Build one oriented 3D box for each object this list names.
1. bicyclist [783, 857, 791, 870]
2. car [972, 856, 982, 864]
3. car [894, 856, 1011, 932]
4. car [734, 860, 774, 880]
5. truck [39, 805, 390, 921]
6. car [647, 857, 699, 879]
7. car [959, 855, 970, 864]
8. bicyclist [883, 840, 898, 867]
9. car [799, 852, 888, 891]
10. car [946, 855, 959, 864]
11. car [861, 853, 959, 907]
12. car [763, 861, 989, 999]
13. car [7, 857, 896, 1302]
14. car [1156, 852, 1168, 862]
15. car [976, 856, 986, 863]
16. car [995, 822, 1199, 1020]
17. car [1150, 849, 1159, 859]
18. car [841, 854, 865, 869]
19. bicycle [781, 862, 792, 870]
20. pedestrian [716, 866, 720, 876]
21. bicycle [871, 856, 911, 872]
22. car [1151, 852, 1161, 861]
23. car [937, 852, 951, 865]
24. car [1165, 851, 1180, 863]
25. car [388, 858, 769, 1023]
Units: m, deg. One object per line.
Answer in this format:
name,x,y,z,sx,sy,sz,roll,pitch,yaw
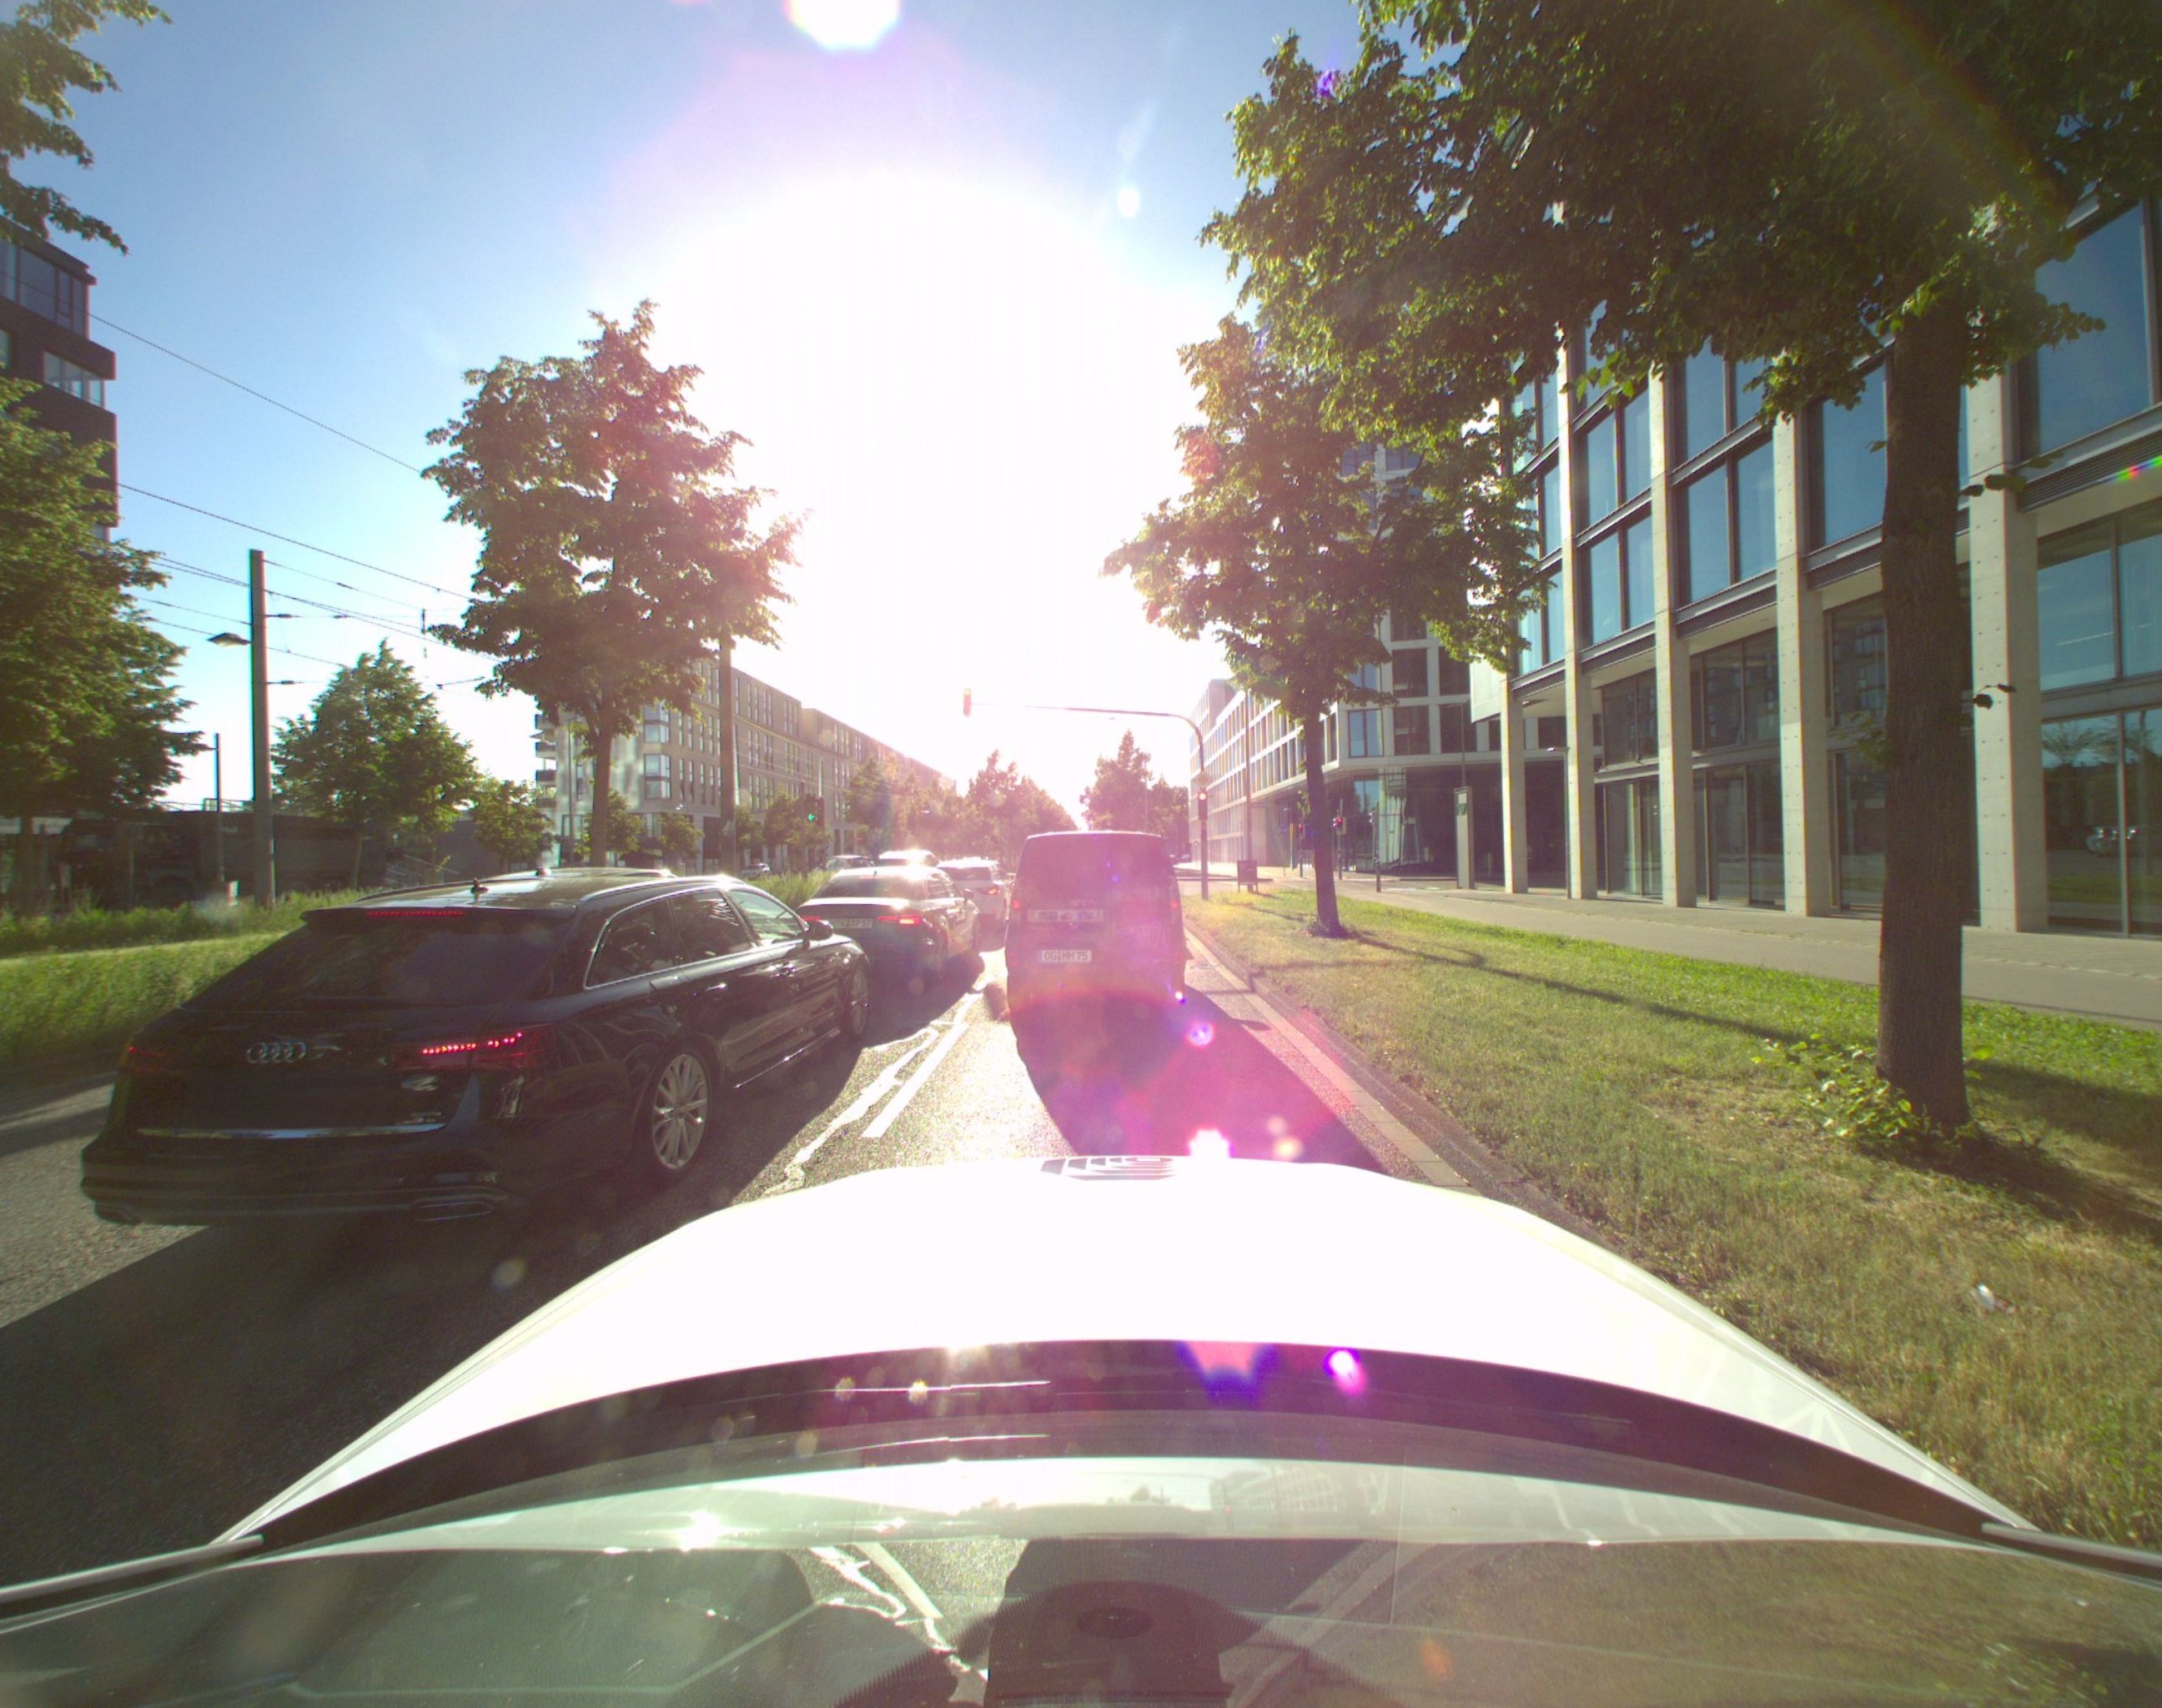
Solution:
bicyclist,-36.666,1.156,101.511,0.674,1.529,0.714,-1,0,1
car,-27.901,1.503,218.197,1.986,2.013,4.002,-1,0,2
car,-2.662,0.787,17.777,1.797,1.426,3.902,-1,0,2
car,-31.801,1.531,79.246,1.986,1.814,4.372,-1,0,2
truck,-33.634,0.293,32.647,2.880,3.853,10.218,-1,0,2
car,-31.048,1.037,62.074,1.758,1.520,4.002,-1,0,2
car,-28.612,1.398,200.184,1.986,2.013,4.002,-1,0,2
bicyclist,-15.093,-0.015,64.604,0.937,2.092,0.817,-1,0,-2
car,-10.425,0.739,35.618,1.815,1.483,4.513,2,0,-44
car,-28.902,1.306,183.365,1.986,2.013,4.002,-1,0,2
car,-4.991,0.716,24.449,1.792,1.447,4.571,0,0,2
car,-2.496,0.855,11.104,1.835,1.426,4.340,-1,0,2
car,-2.759,0.790,5.321,1.868,1.484,4.967,-1,0,1
car,15.963,0.609,160.477,1.986,1.782,4.002,-1,0,2
car,-27.444,1.540,223.814,1.986,2.013,4.002,-1,0,2
car,0.210,0.612,9.447,1.835,1.780,4.002,-1,0,2
car,17.890,-0.002,198.180,1.986,2.497,4.988,-1,0,2
car,-30.884,0.979,110.595,1.986,2.013,4.002,-1,0,2
bicycle,-36.661,1.531,101.422,0.674,0.988,1.957,-1,0,2
pedestrian,-40.891,1.892,91.807,0.253,1.085,0.289,-1,0,1
bicycle,-15.069,0.765,64.589,2.934,1.190,0.817,-1,0,-2
car,16.505,0.519,179.679,1.986,1.782,4.002,-1,0,2
car,-28.437,0.945,169.291,1.986,2.607,4.002,-1,0,2
car,14.324,0.413,127.924,1.986,1.782,4.002,-1,0,2
car,-5.507,0.805,9.809,1.794,1.447,4.566,-1,0,-1
